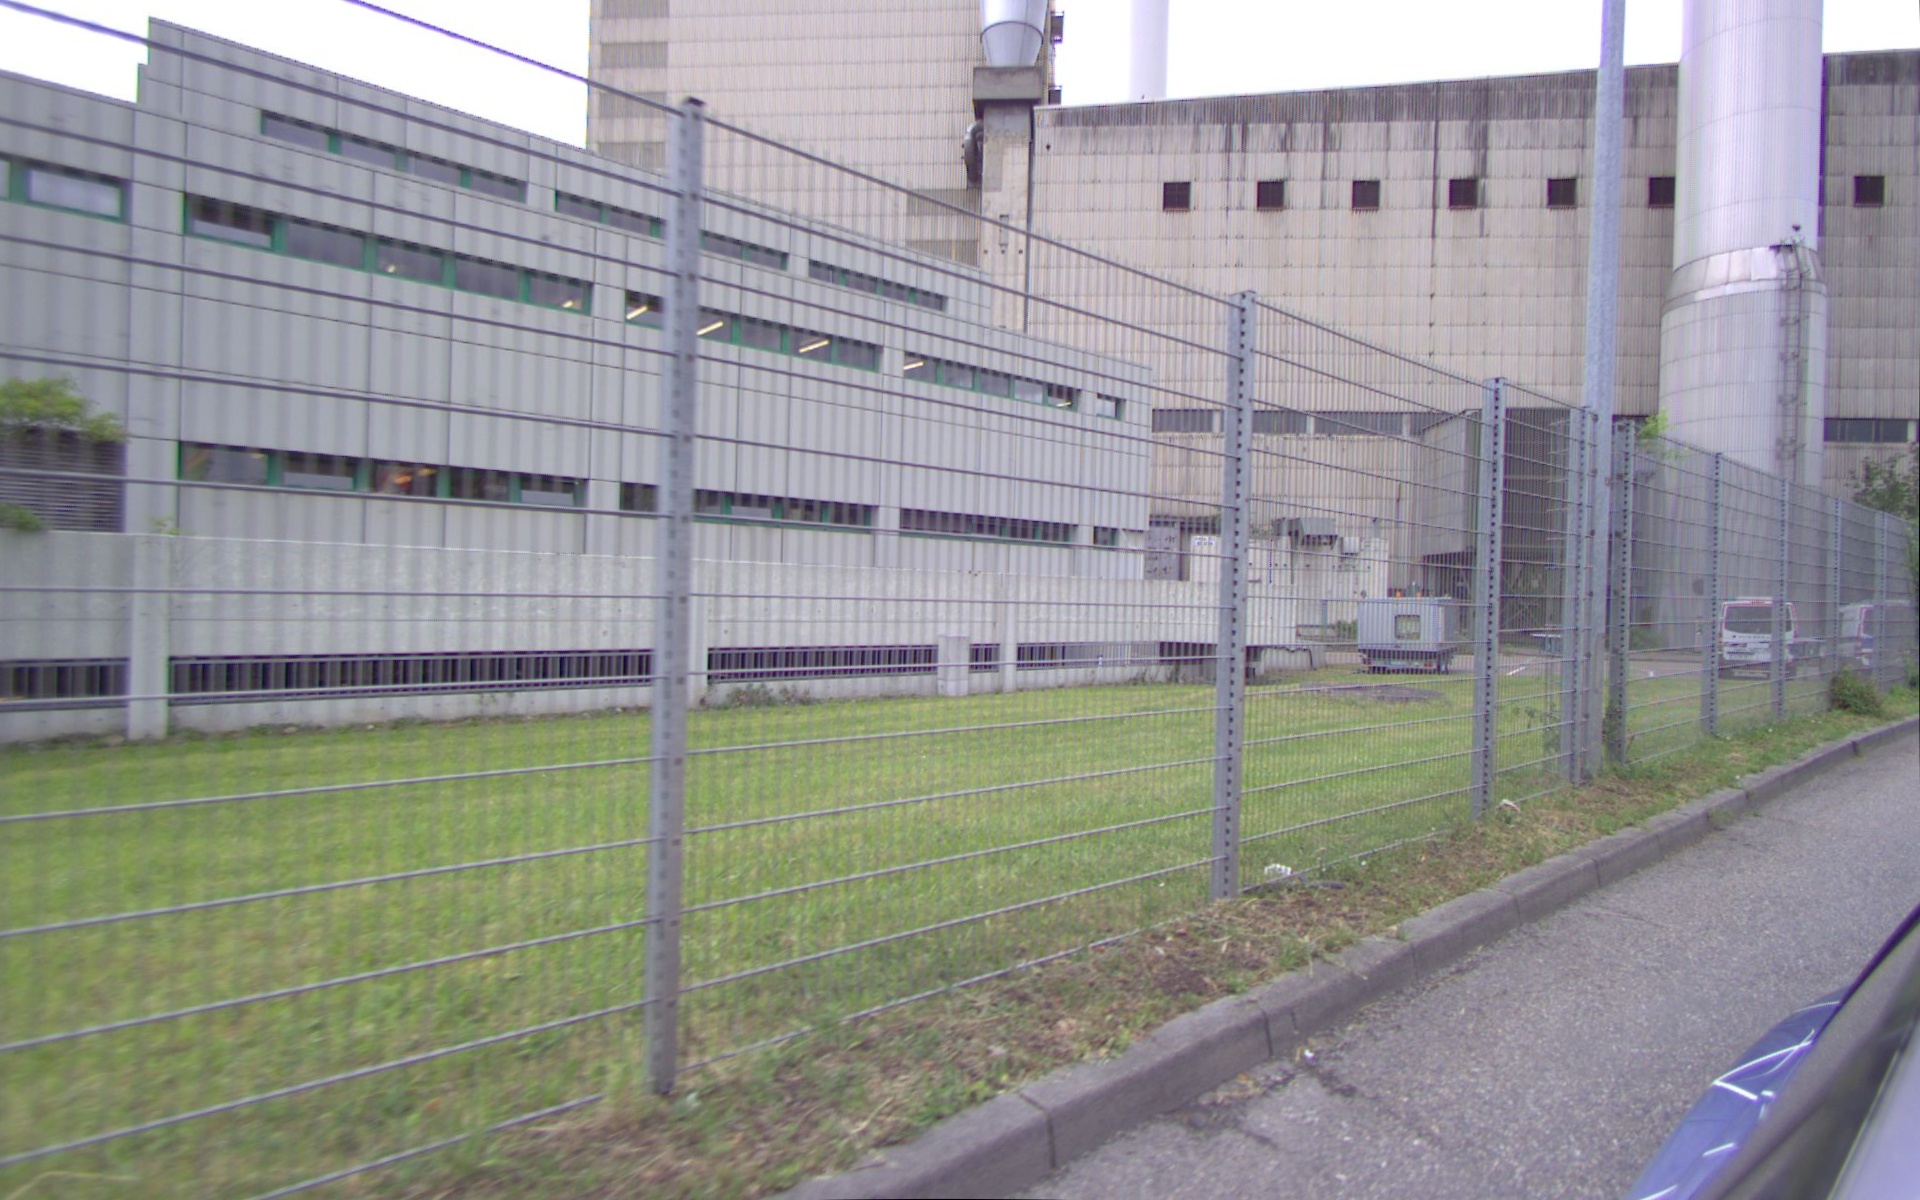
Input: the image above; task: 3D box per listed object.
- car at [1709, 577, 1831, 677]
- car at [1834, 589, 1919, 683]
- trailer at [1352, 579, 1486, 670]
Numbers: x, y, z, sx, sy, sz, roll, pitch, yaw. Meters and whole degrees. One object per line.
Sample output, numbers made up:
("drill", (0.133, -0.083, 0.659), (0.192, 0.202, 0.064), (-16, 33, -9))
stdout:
("car", (25.052, 0.870, 31.517), (2.410, 2.798, 5.388), (1, -2, 33))
("car", (28.148, 1.121, 30.319), (2.222, 2.581, 5.129), (1, -2, 32))
("trailer", (14.703, 0.713, 32.162), (2.648, 2.576, 6.349), (1, 0, 36))
